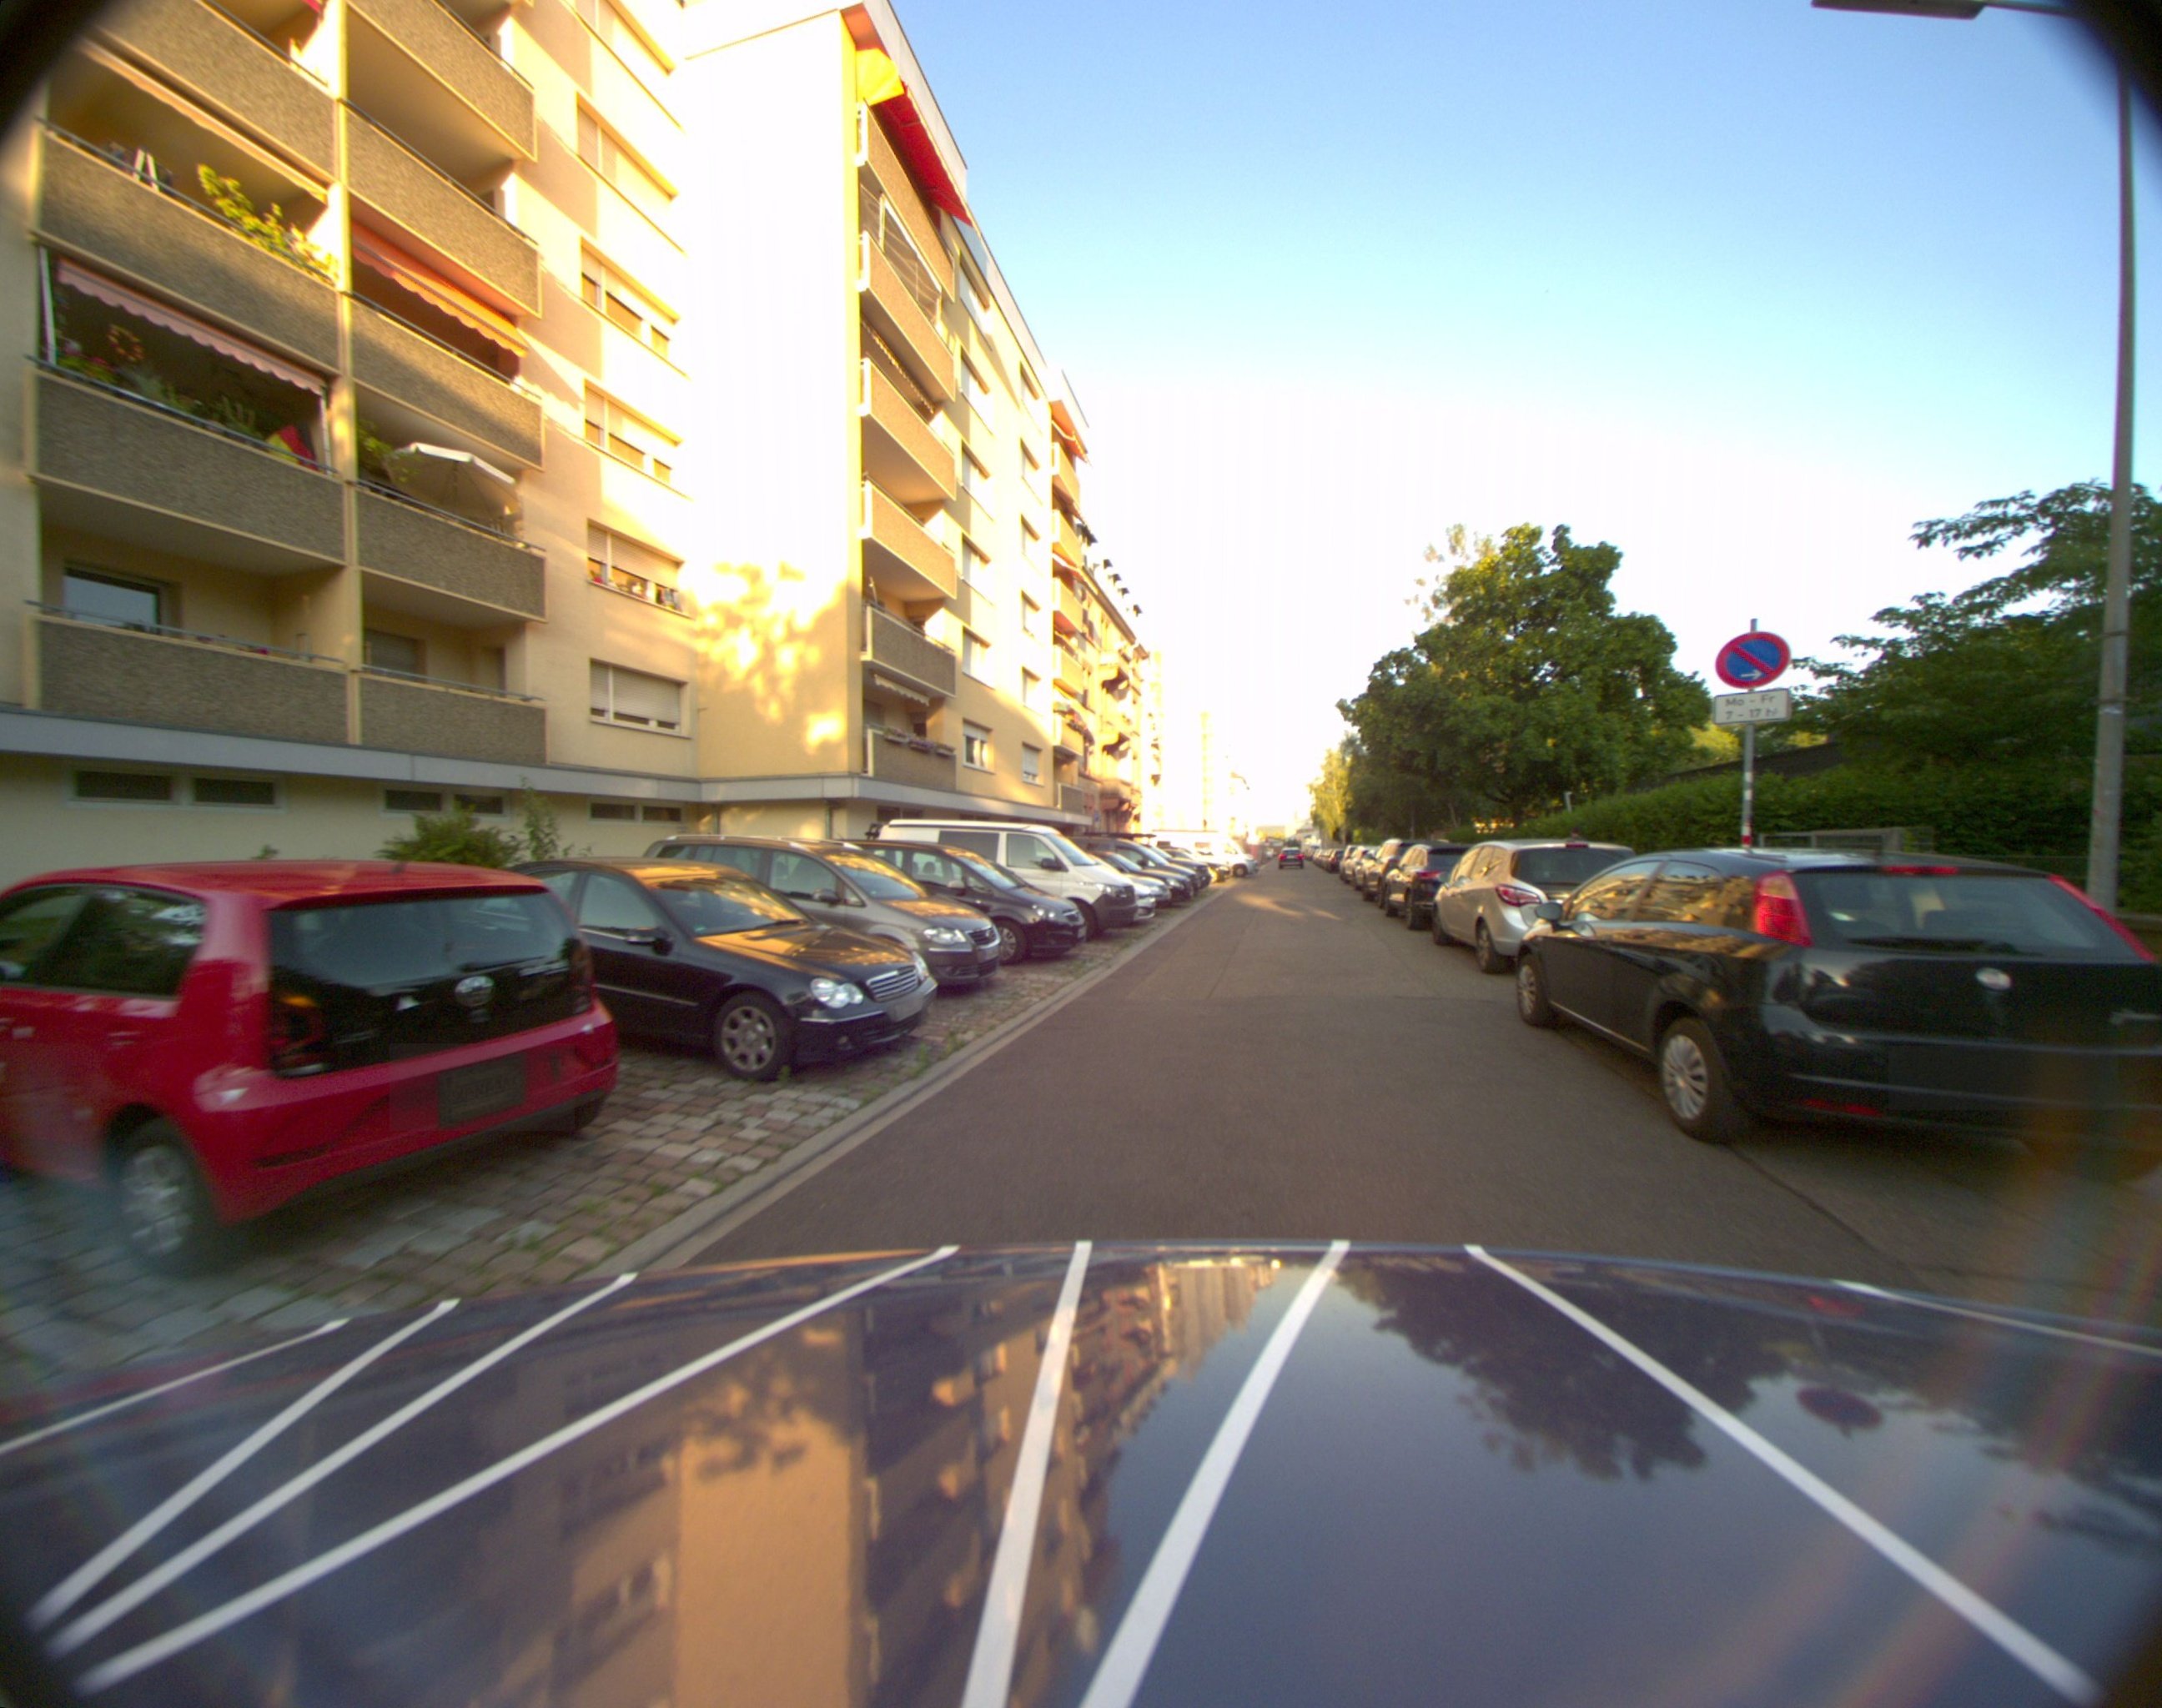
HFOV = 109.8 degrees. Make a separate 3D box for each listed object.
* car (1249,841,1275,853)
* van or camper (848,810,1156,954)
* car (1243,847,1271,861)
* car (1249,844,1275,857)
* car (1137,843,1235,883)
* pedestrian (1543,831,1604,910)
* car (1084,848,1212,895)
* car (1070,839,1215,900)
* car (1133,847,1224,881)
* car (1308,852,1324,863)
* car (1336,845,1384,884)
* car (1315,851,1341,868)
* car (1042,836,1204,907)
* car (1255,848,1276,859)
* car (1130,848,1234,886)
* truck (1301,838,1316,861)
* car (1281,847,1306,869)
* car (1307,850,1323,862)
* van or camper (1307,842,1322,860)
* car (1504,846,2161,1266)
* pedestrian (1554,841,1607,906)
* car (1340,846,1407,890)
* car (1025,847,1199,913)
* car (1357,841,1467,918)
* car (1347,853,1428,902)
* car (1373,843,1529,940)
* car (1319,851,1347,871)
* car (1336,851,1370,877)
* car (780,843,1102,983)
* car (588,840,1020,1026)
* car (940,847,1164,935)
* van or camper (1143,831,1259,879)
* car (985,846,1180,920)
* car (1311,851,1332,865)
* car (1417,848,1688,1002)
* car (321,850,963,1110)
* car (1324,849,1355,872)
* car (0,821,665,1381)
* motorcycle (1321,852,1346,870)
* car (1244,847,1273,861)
[{"bbox_3d":[29.782,-1.148,124.882,3.992,2.002,2.002,-1,0,15],"label":"car"},{"bbox_3d":[-1.383,0.401,13.965,5.139,2.155,2.042,3,2,14],"label":"van or camper"},{"bbox_3d":[26.369,-0.041,113.728,3.992,2.002,2.002,-1,0,15],"label":"car"},{"bbox_3d":[29.047,-0.501,121.818,3.992,2.002,2.002,-1,0,15],"label":"car"},{"bbox_3d":[5.092,0.394,36.933,4.408,1.739,1.848,1,3,19],"label":"car"},{"bbox_3d":[11.286,0.377,17.456,0.900,1.722,0.751,-3,0,14],"label":"pedestrian"},{"bbox_3d":[2.481,0.601,28.022,4.408,1.545,1.847,1,3,18],"label":"car"},{"bbox_3d":[2.073,0.465,25.318,4.518,1.852,1.848,1,1,15],"label":"car"},{"bbox_3d":[5.098,0.540,39.564,4.409,1.610,1.847,-1,2,17],"label":"car"},{"bbox_3d":[28.685,0.411,92.865,1.736,1.358,4.296,1,0,14],"label":"car"},{"bbox_3d":[12.586,0.446,34.480,1.735,1.622,3.985,1,0,16],"label":"car"},{"bbox_3d":[20.147,0.446,62.103,1.736,1.280,3.809,1,0,14],"label":"car"},{"bbox_3d":[1.310,0.461,23.155,4.643,1.970,1.847,1,3,15],"label":"car"},{"bbox_3d":[37.227,-0.128,153.243,3.992,2.002,2.002,-1,0,15],"label":"car"},{"bbox_3d":[4.578,0.541,34.408,4.409,1.545,1.847,1,3,16],"label":"car"},{"bbox_3d":[38.883,-0.757,130.050,2.180,3.860,4.932,-1,0,15],"label":"truck"},{"bbox_3d":[16.434,0.288,58.836,1.735,1.622,4.130,1,0,15],"label":"car"},{"bbox_3d":[30.255,0.238,98.329,1.736,1.502,4.296,1,0,14],"label":"car"},{"bbox_3d":[31.885,-0.439,103.781,1.822,2.400,4.296,1,1,14],"label":"van or camper"},{"bbox_3d":[4.131,0.751,4.716,1.736,1.558,3.701,1,0,15],"label":"car"},{"bbox_3d":[12.110,0.466,18.446,0.749,1.499,0.903,-3,0,14],"label":"pedestrian"},{"bbox_3d":[11.191,0.496,29.328,1.761,1.534,4.284,1,0,13],"label":"car"},{"bbox_3d":[0.873,0.651,20.668,4.409,1.554,1.847,1,3,15],"label":"car"},{"bbox_3d":[8.234,0.563,19.280,1.736,1.720,4.327,1,0,13],"label":"car"},{"bbox_3d":[9.780,0.686,24.527,1.736,1.418,4.291,1,0,13],"label":"car"},{"bbox_3d":[6.843,0.597,14.507,1.736,1.558,4.171,1,0,13],"label":"car"},{"bbox_3d":[18.758,0.498,56.737,1.736,1.417,3.809,1,0,14],"label":"car"},{"bbox_3d":[16.077,0.565,45.004,1.621,1.417,3.419,1,0,16],"label":"car"},{"bbox_3d":[-2.009,0.753,11.307,4.331,1.652,1.783,2,3,13],"label":"car"},{"bbox_3d":[-3.126,0.760,8.872,4.409,1.652,1.847,2,3,13],"label":"car"},{"bbox_3d":[-0.570,0.704,16.162,4.409,1.622,1.847,1,3,15],"label":"car"},{"bbox_3d":[6.652,0.015,42.094,6.066,2.490,2.052,1,1,16],"label":"van or camper"},{"bbox_3d":[0.073,0.636,18.591,4.409,1.584,1.847,1,3,15],"label":"car"},{"bbox_3d":[23.817,0.375,75.270,1.736,1.358,4.296,1,0,14],"label":"car"},{"bbox_3d":[5.780,0.716,9.956,1.736,1.558,4.133,1,0,13],"label":"car"},{"bbox_3d":[-3.387,0.791,6.174,4.410,1.523,1.847,1,3,13],"label":"car"},{"bbox_3d":[17.122,0.387,50.473,1.735,1.438,3.809,1,0,16],"label":"car"},{"bbox_3d":[-4.694,0.742,3.954,4.408,1.622,1.848,4,2,18],"label":"car"},{"bbox_3d":[17.880,0.489,53.818,1.594,1.251,0.786,-1,0,18],"label":"motorcycle"},{"bbox_3d":[26.039,-0.024,111.174,3.992,2.002,2.002,-1,0,15],"label":"car"}]
